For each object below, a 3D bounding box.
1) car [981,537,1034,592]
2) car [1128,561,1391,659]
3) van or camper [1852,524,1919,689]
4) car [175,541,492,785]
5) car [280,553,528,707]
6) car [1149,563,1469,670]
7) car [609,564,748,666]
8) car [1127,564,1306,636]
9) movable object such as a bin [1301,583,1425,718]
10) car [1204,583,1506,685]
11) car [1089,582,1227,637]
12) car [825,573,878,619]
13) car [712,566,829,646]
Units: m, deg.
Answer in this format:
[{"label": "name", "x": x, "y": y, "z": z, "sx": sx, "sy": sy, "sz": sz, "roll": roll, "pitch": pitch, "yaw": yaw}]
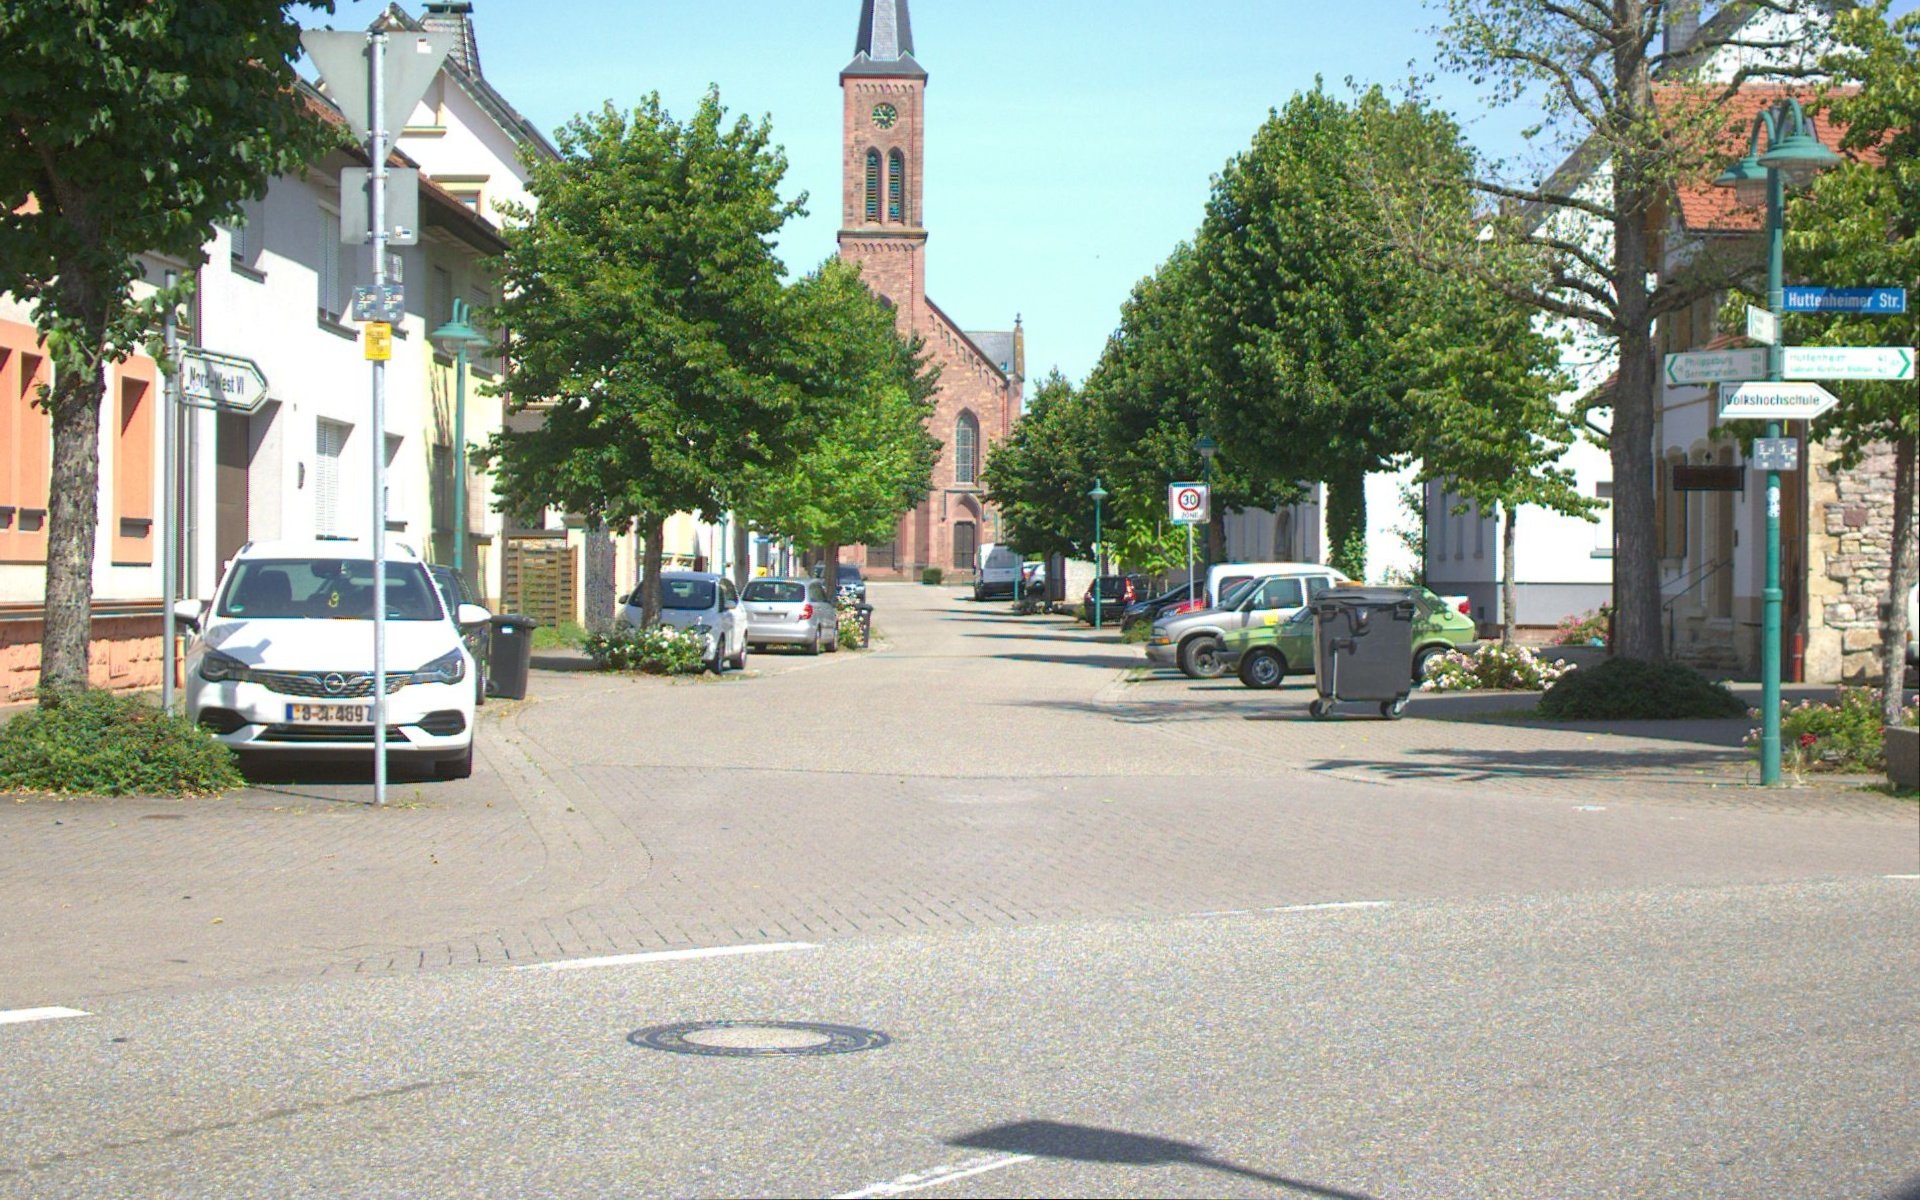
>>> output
[{"label": "car", "x": 2.097, "y": -1.560, "z": 152.953, "sx": 2.245, "sy": 2.271, "sz": 4.503, "roll": 2, "pitch": 0, "yaw": 0}, {"label": "car", "x": 4.905, "y": 0.148, "z": 56.658, "sx": 4.150, "sy": 1.563, "sz": 2.000, "roll": 0, "pitch": 1, "yaw": 0}, {"label": "van or camper", "x": 13.205, "y": 0.080, "z": 42.569, "sx": 3.988, "sy": 2.007, "sz": 1.999, "roll": 0, "pitch": 1, "yaw": 9}, {"label": "car", "x": -4.163, "y": 0.343, "z": 22.633, "sx": 1.848, "sy": 1.435, "sz": 4.514, "roll": 0, "pitch": 1, "yaw": -11}, {"label": "car", "x": -5.512, "y": 0.246, "z": 34.689, "sx": 1.984, "sy": 1.435, "sz": 5.212, "roll": 0, "pitch": 1, "yaw": -4}, {"label": "car", "x": 5.418, "y": 0.248, "z": 53.829, "sx": 4.803, "sy": 1.618, "sz": 2.000, "roll": 0, "pitch": 1, "yaw": 0}, {"label": "car", "x": -4.476, "y": 0.208, "z": 55.124, "sx": 1.993, "sy": 1.568, "sz": 4.000, "roll": 0, "pitch": 1, "yaw": -1}, {"label": "car", "x": 5.905, "y": -0.004, "z": 79.564, "sx": 3.987, "sy": 1.634, "sz": 2.000, "roll": 0, "pitch": 1, "yaw": 0}, {"label": "movable object such as a bin", "x": 4.039, "y": 0.496, "z": 34.503, "sx": 1.188, "sy": 1.333, "sz": 0.789, "roll": 0, "pitch": 1, "yaw": 4}, {"label": "car", "x": 5.399, "y": 0.457, "z": 47.389, "sx": 3.924, "sy": 1.340, "sz": 2.000, "roll": 0, "pitch": 1, "yaw": 0}, {"label": "car", "x": 5.954, "y": 0.271, "z": 103.509, "sx": 3.986, "sy": 1.612, "sz": 2.000, "roll": 0, "pitch": 1, "yaw": -2}, {"label": "car", "x": -4.339, "y": -0.171, "z": 137.108, "sx": 1.993, "sy": 1.809, "sz": 4.001, "roll": 0, "pitch": 1, "yaw": -4}, {"label": "car", "x": -3.685, "y": 0.093, "z": 66.278, "sx": 1.993, "sy": 1.459, "sz": 4.001, "roll": 1, "pitch": 1, "yaw": -7}]
